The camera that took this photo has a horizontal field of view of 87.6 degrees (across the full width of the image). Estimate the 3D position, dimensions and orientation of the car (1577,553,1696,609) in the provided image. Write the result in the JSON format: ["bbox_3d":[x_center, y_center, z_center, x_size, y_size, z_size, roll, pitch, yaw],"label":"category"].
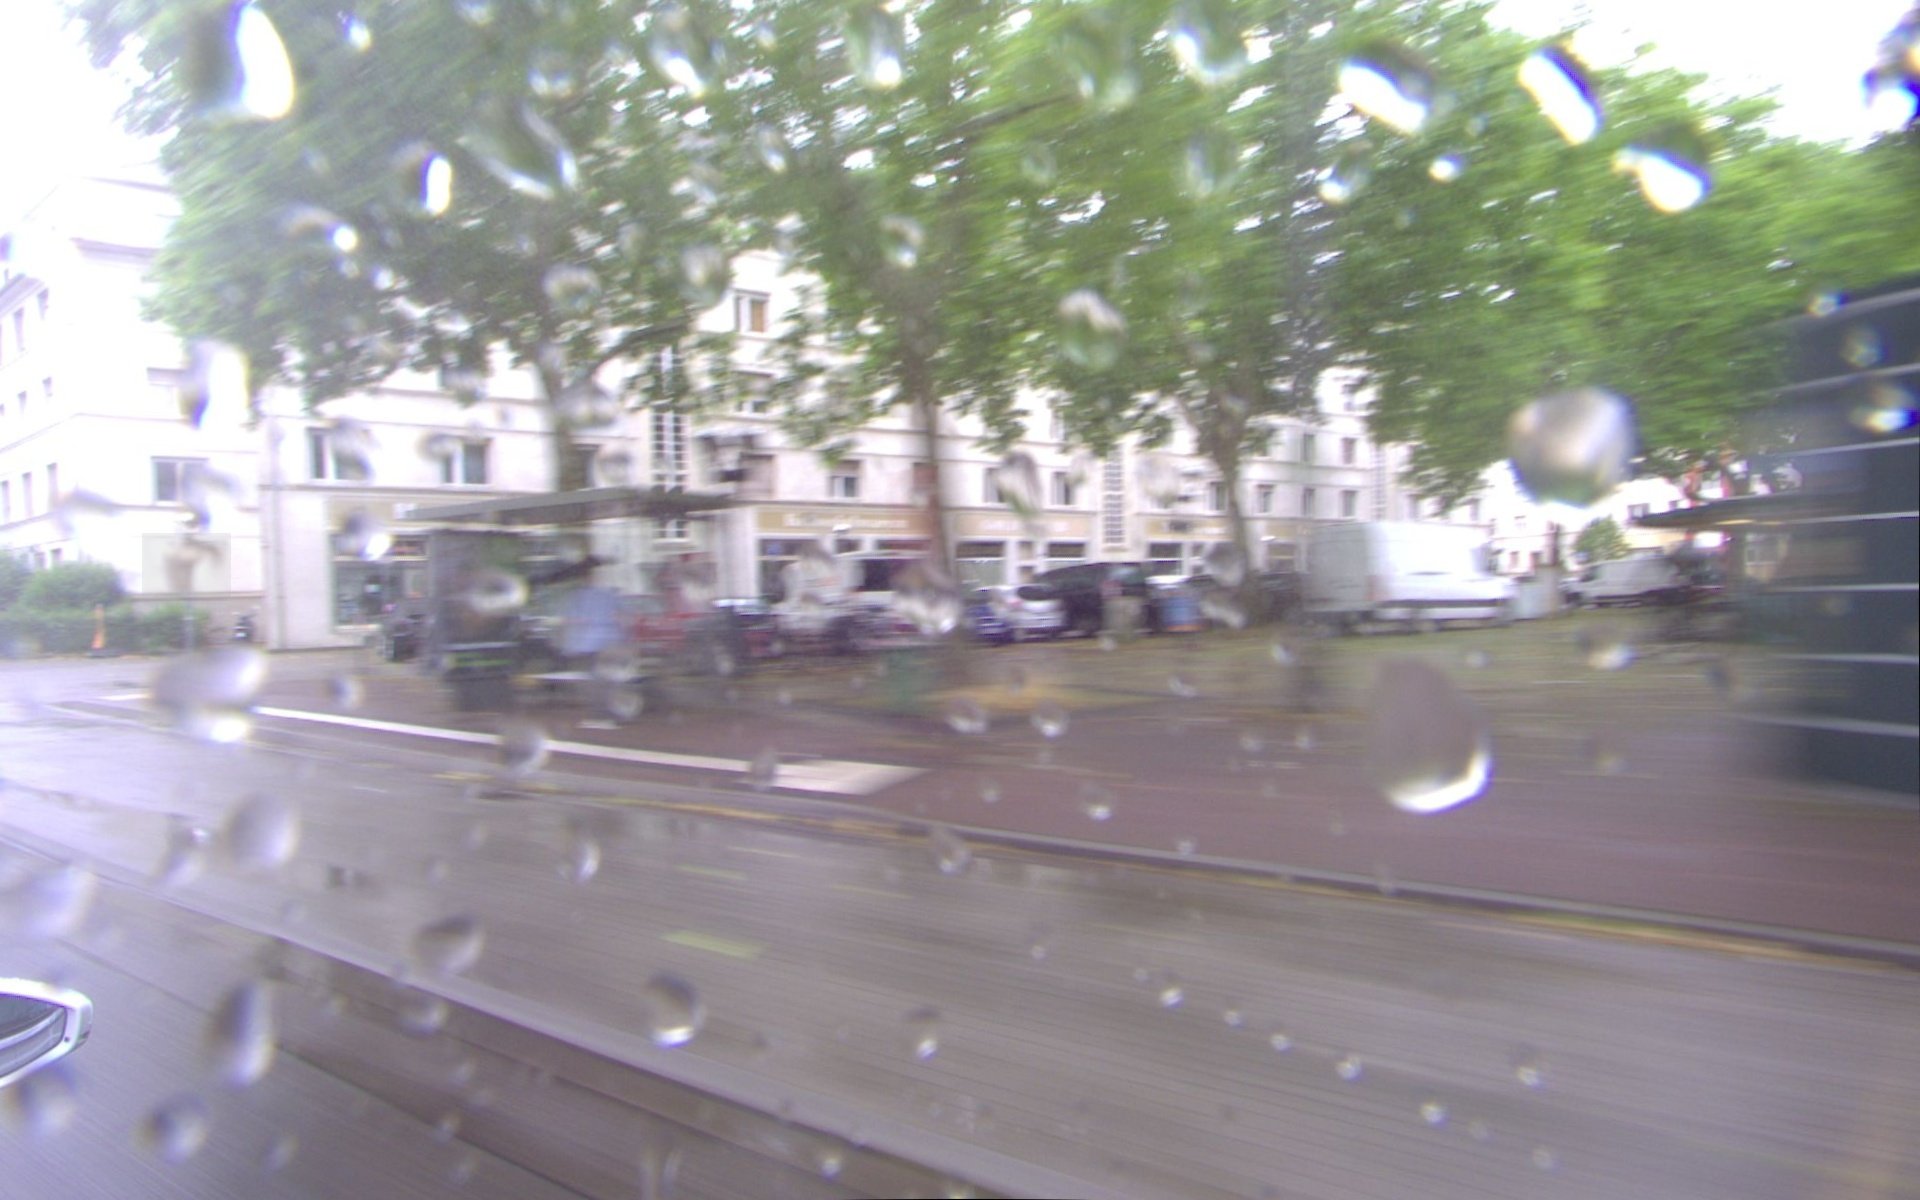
[{"bbox_3d":[30.094,-0.803,44.647,1.532,2.232,4.076,-2,-1,-32],"label":"car"}]

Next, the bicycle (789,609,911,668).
[{"bbox_3d":[-2.007,0.686,18.457,2.229,0.981,0.531,-2,2,-34],"label":"bicycle"}]

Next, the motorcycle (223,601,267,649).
[{"bbox_3d":[-22.269,0.741,31.222,0.866,1.411,2.987,-2,1,-32],"label":"motorcycle"}]

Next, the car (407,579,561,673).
[{"bbox_3d":[-8.997,0.519,18.813,1.675,1.571,3.493,-2,-1,-41],"label":"car"}]

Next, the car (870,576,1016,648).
[{"bbox_3d":[-0.481,0.286,24.271,1.664,1.596,3.709,-2,0,-36],"label":"car"}]

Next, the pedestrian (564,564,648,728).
[{"bbox_3d":[-3.778,0.473,10.731,0.705,1.691,0.664,-2,1,-11],"label":"pedestrian"}]

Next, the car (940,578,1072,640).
[{"bbox_3d":[1.129,0.279,26.348,1.661,1.450,3.718,-2,-1,-31],"label":"car"}]

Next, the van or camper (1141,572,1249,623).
[{"bbox_3d":[10.492,-0.076,45.051,1.974,2.118,4.600,1,-1,-34],"label":"van or camper"}]

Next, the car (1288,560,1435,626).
[{"bbox_3d":[12.702,-0.176,31.893,1.814,1.861,3.978,-2,-1,-32],"label":"car"}]

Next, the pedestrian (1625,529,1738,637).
[{"bbox_3d":[9.921,-0.237,13.799,0.733,1.417,1.045,-2,2,-16],"label":"pedestrian"}]

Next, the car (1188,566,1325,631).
[{"bbox_3d":[9.428,-0.023,32.109,1.814,1.861,3.978,-2,-1,-32],"label":"car"}]

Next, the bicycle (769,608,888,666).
[{"bbox_3d":[-2.476,0.682,19.037,2.224,0.981,0.581,-2,2,-34],"label":"bicycle"}]

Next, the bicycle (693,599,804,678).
[{"bbox_3d":[-3.519,0.615,16.723,1.744,1.211,0.495,-2,2,-36],"label":"bicycle"}]

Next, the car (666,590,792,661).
[{"bbox_3d":[-4.986,0.557,21.380,1.566,1.353,3.244,-2,-1,-33],"label":"car"}]

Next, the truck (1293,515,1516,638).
[{"bbox_3d":[11.255,-0.587,25.100,6.319,2.735,2.252,-2,1,-36],"label":"truck"}]

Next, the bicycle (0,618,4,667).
[{"bbox_3d":[-22.992,1.024,21.695,1.035,1.127,3.212,-1,1,14],"label":"bicycle"}]

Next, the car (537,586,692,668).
[{"bbox_3d":[-6.947,0.565,19.990,3.355,1.475,1.515,-4,-1,44],"label":"car"}]

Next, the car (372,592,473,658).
[{"bbox_3d":[-14.859,0.662,27.567,1.974,1.649,4.600,1,-1,-34],"label":"car"}]

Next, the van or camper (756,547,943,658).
[{"bbox_3d":[-2.737,0.043,23.271,2.369,2.261,5.402,-2,1,-29],"label":"van or camper"}]

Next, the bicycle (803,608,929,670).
[{"bbox_3d":[-1.666,0.679,17.975,2.258,0.996,0.542,-2,2,-34],"label":"bicycle"}]

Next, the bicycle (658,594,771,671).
[{"bbox_3d":[-4.399,0.558,17.985,1.817,1.275,0.705,-2,2,-36],"label":"bicycle"}]

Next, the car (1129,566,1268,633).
[{"bbox_3d":[7.213,0.025,30.623,1.814,1.861,3.978,-2,-1,-32],"label":"car"}]

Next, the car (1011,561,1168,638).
[{"bbox_3d":[3.410,0.021,27.067,2.132,1.861,3.978,-2,-1,-32],"label":"car"}]

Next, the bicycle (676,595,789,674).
[{"bbox_3d":[-3.902,0.568,17.262,1.817,1.275,0.521,-2,2,-36],"label":"bicycle"}]

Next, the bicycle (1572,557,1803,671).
[{"bbox_3d":[9.925,0.152,13.850,0.738,1.396,2.701,-2,2,-16],"label":"bicycle"}]
